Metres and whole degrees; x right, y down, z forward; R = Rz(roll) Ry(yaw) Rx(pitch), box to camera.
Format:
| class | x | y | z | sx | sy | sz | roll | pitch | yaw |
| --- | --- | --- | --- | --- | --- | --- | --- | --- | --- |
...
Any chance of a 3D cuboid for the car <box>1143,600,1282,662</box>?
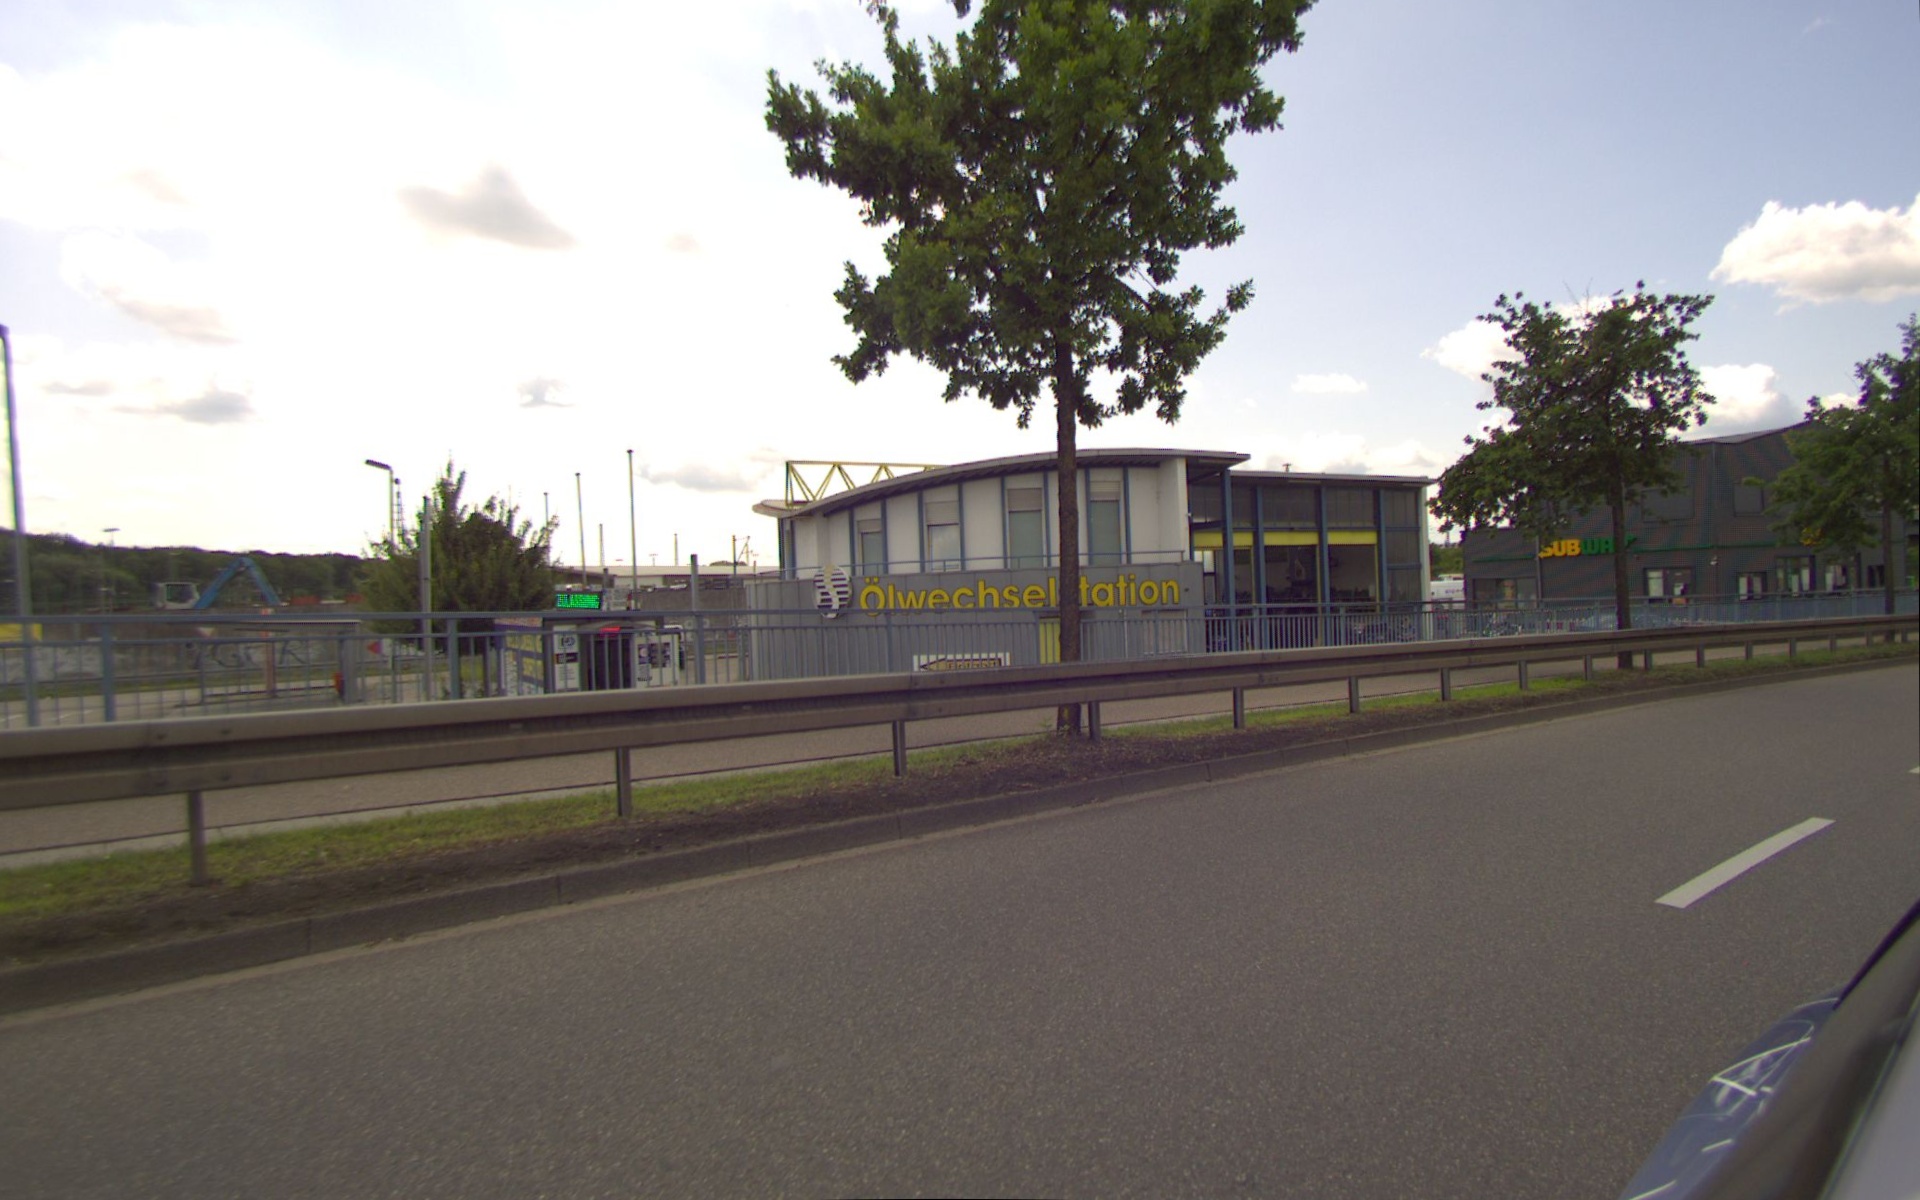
| class | x | y | z | sx | sy | sz | roll | pitch | yaw |
| --- | --- | --- | --- | --- | --- | --- | --- | --- | --- |
| car | 9.063 | 1.162 | 36.763 | 2.187 | 2.040 | 4.792 | -1 | -3 | -28 |

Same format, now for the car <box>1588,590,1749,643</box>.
| class | x | y | z | sx | sy | sz | roll | pitch | yaw |
| --- | --- | --- | --- | --- | --- | --- | --- | --- | --- |
| car | 20.835 | 0.442 | 29.727 | 4.653 | 1.376 | 2.003 | -1 | 1 | -28 |

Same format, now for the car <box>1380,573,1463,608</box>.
| class | x | y | z | sx | sy | sz | roll | pitch | yaw |
| --- | --- | --- | --- | --- | --- | --- | --- | --- | --- |
| car | 18.278 | -0.389 | 40.261 | 1.968 | 1.301 | 4.366 | -1 | 1 | 10 |

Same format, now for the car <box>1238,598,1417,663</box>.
| class | x | y | z | sx | sy | sz | roll | pitch | yaw |
| --- | --- | --- | --- | --- | --- | --- | --- | --- | --- |
| car | 12.930 | 1.035 | 36.083 | 2.189 | 2.039 | 5.824 | -3 | 1 | -32 |
